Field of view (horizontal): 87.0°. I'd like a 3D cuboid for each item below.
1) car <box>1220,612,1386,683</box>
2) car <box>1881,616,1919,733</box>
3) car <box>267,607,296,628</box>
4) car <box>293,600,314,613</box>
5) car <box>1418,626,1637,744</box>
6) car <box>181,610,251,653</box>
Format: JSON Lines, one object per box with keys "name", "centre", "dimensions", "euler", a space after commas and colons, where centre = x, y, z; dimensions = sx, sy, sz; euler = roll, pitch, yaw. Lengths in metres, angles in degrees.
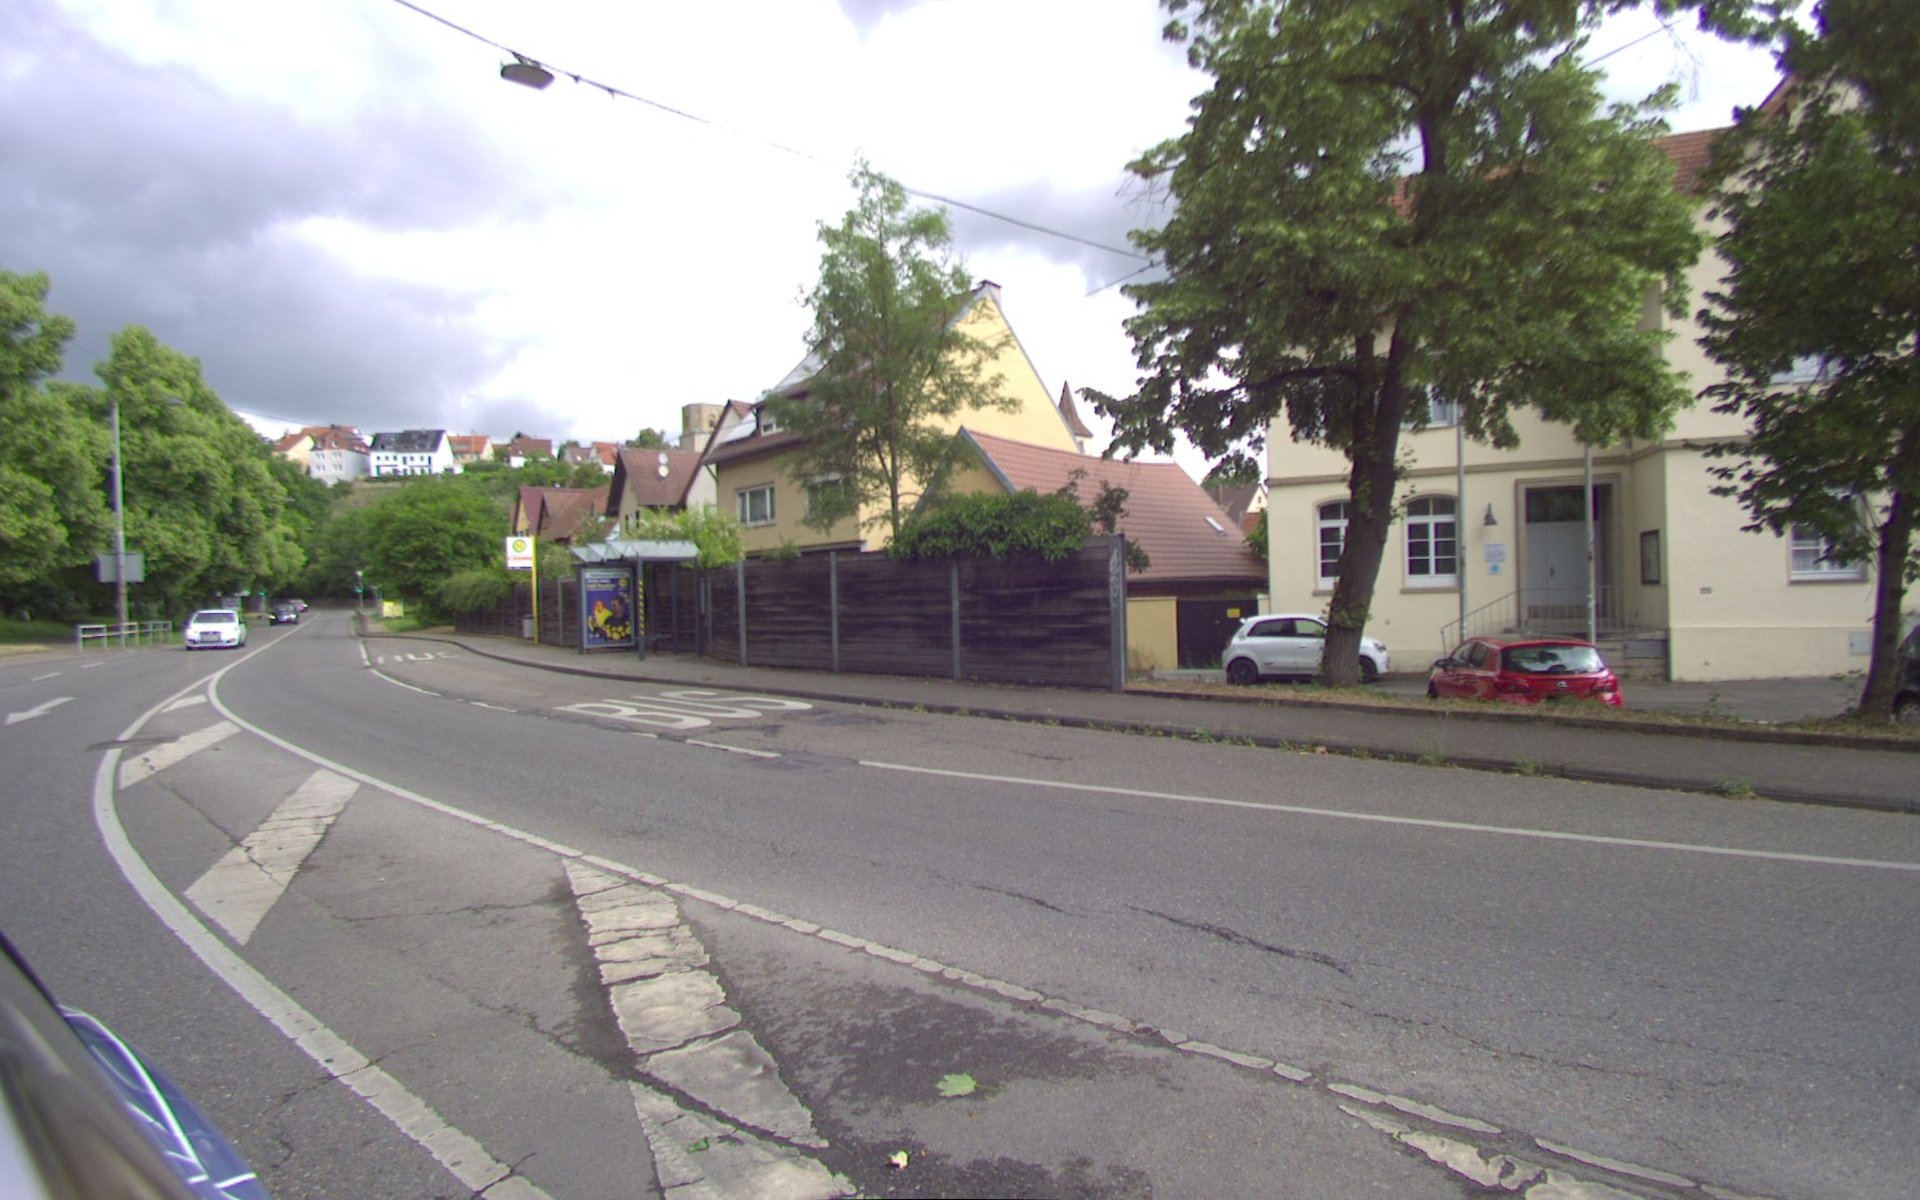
{"name": "car", "centre": [7.720, 1.051, 22.898], "dimensions": [3.411, 1.490, 1.600], "euler": [-1, 0, 21]}
{"name": "car", "centre": [12.633, 0.930, 11.316], "dimensions": [1.626, 1.450, 3.567], "euler": [-1, 0, 7]}
{"name": "car", "centre": [-52.212, 1.341, 77.922], "dimensions": [1.735, 1.596, 3.693], "euler": [-1, 0, -33]}
{"name": "car", "centre": [-83.941, 0.798, 129.406], "dimensions": [1.738, 1.596, 3.688], "euler": [-1, 0, -42]}
{"name": "car", "centre": [8.132, 1.142, 14.892], "dimensions": [1.644, 1.393, 3.708], "euler": [-1, 0, 10]}
{"name": "car", "centre": [-28.442, 1.172, 38.791], "dimensions": [1.735, 1.536, 3.694], "euler": [-1, 0, -30]}
